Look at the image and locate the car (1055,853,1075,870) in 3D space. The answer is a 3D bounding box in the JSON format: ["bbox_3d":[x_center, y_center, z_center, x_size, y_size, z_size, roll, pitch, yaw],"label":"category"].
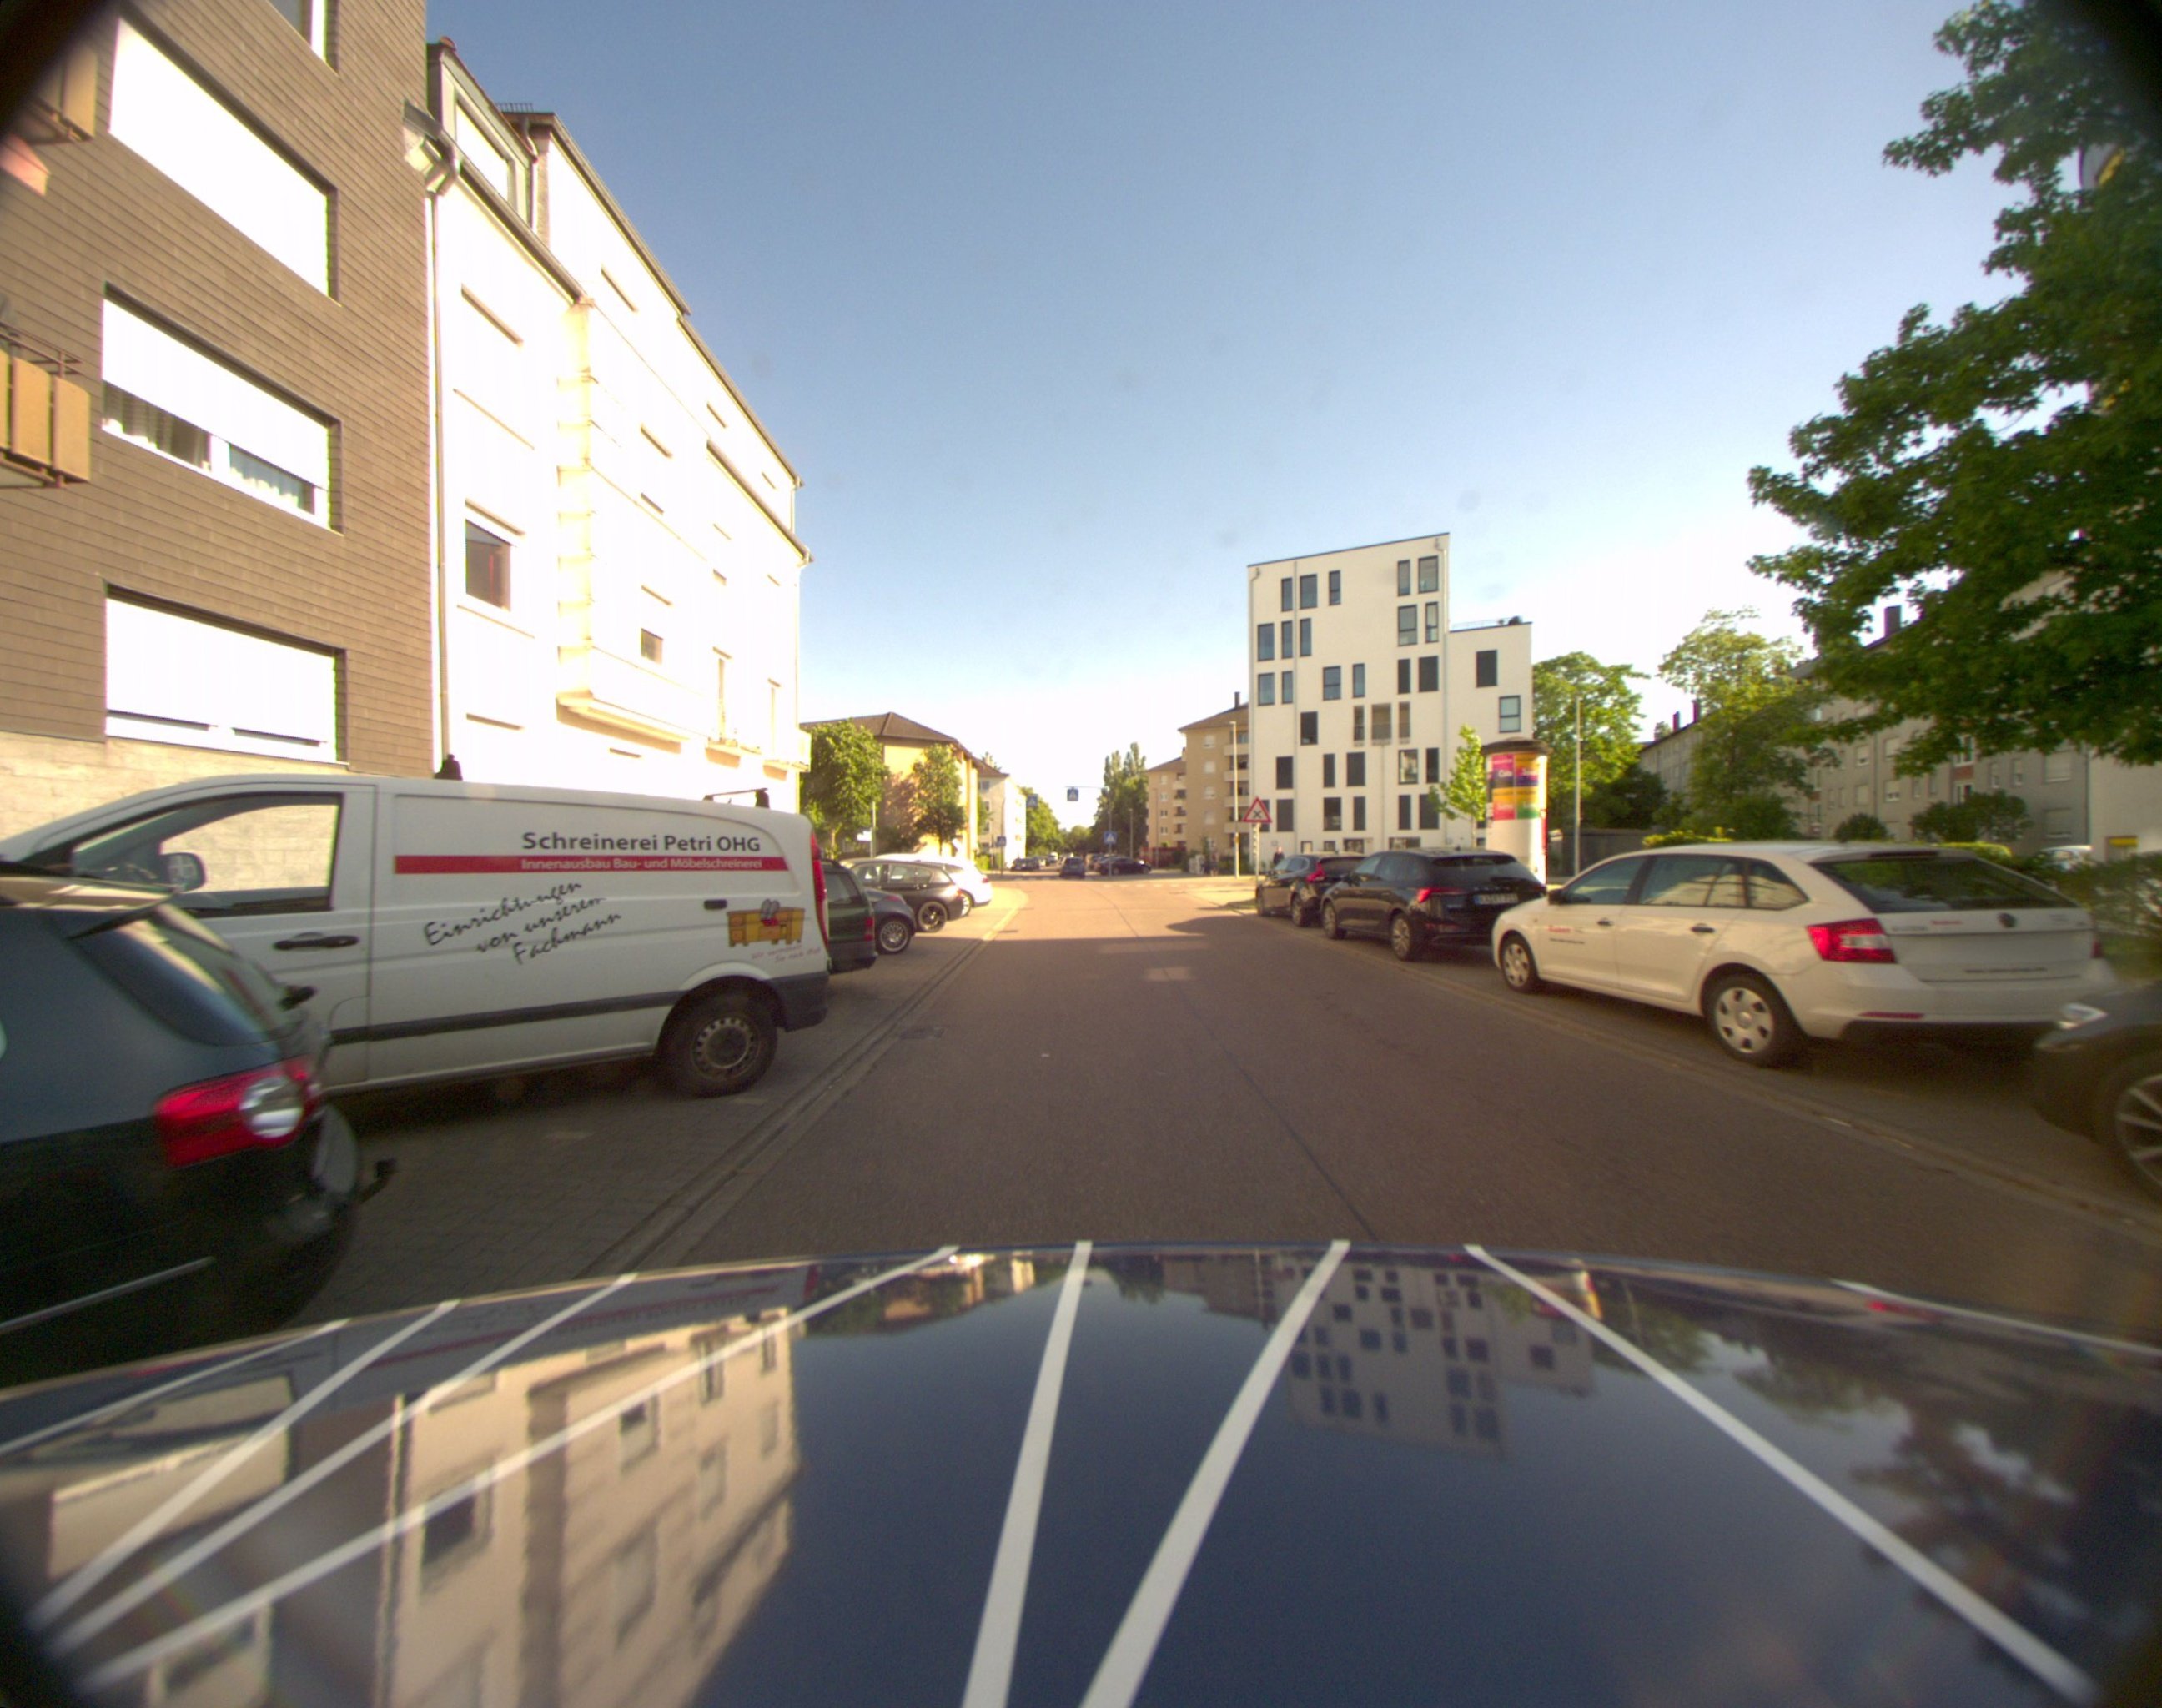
[{"bbox_3d":[-1.594,0.788,78.989,1.890,1.496,4.636,1,3,1],"label":"car"}]

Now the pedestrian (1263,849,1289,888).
[{"bbox_3d":[8.572,0.623,33.356,0.977,1.704,0.875,0,0,22],"label":"pedestrian"}]

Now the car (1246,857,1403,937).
[{"bbox_3d":[4.864,0.782,15.829,1.794,1.402,4.222,-1,0,-2],"label":"car"}]

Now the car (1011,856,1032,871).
[{"bbox_3d":[-6.184,0.923,78.707,1.909,1.506,3.997,1,0,-8],"label":"car"}]

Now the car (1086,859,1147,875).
[{"bbox_3d":[2.927,1.022,61.775,4.571,1.160,1.995,-2,0,-29],"label":"car"}]

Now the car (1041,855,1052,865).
[{"bbox_3d":[-6.236,1.136,136.560,1.999,1.685,3.998,0,2,-2],"label":"car"}]

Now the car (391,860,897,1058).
[{"bbox_3d":[-4.112,0.894,7.695,4.005,1.481,1.612,2,2,-32],"label":"car"}]

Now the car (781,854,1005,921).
[{"bbox_3d":[-4.504,0.818,18.543,4.884,1.455,1.968,3,-2,-35],"label":"car"}]

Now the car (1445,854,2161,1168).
[{"bbox_3d":[5.080,0.793,6.171,1.913,1.521,4.623,-1,1,-2],"label":"car"}]

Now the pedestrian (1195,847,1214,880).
[{"bbox_3d":[7.902,0.595,48.597,0.776,2.108,0.957,-2,0,-21],"label":"pedestrian"}]

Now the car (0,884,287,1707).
[{"bbox_3d":[-3.942,0.879,0.742,1.751,1.504,4.336,2,1,45],"label":"car"}]

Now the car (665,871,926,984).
[{"bbox_3d":[-4.265,0.994,11.590,3.404,1.380,1.536,-1,0,-40],"label":"car"}]

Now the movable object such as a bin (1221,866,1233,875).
[{"bbox_3d":[9.299,1.043,48.348,0.273,0.538,0.684,-1,2,-44],"label":"movable object such as a bin"}]

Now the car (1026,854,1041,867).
[{"bbox_3d":[-6.285,0.844,100.497,1.845,1.747,3.999,1,0,-3],"label":"car"}]

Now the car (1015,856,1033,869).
[{"bbox_3d":[-6.292,0.958,84.032,1.999,1.237,3.997,-1,2,-4],"label":"car"}]

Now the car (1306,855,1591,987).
[{"bbox_3d":[4.953,0.780,11.070,1.913,1.470,4.379,-1,1,-2],"label":"car"}]

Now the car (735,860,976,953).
[{"bbox_3d":[-4.368,0.915,14.929,4.179,1.489,1.818,-1,2,-34],"label":"car"}]

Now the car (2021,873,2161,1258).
[{"bbox_3d":[4.884,0.799,0.962,1.737,1.431,4.611,0,0,1],"label":"car"}]

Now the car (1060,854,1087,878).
[{"bbox_3d":[-0.538,0.870,55.766,1.841,1.496,4.135,0,3,0],"label":"car"}]

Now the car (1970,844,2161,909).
[{"bbox_3d":[28.452,0.623,21.880,1.995,1.689,4.301,1,-1,23],"label":"car"}]

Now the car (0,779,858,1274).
[{"bbox_3d":[-3.913,0.639,4.387,4.540,1.887,2.043,1,2,-41],"label":"car"}]

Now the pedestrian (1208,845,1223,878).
[{"bbox_3d":[8.030,0.441,45.374,0.789,1.874,0.847,0,3,15],"label":"pedestrian"}]

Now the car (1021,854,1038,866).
[{"bbox_3d":[-6.457,0.718,95.142,1.999,1.455,3.999,-1,0,-2],"label":"car"}]
